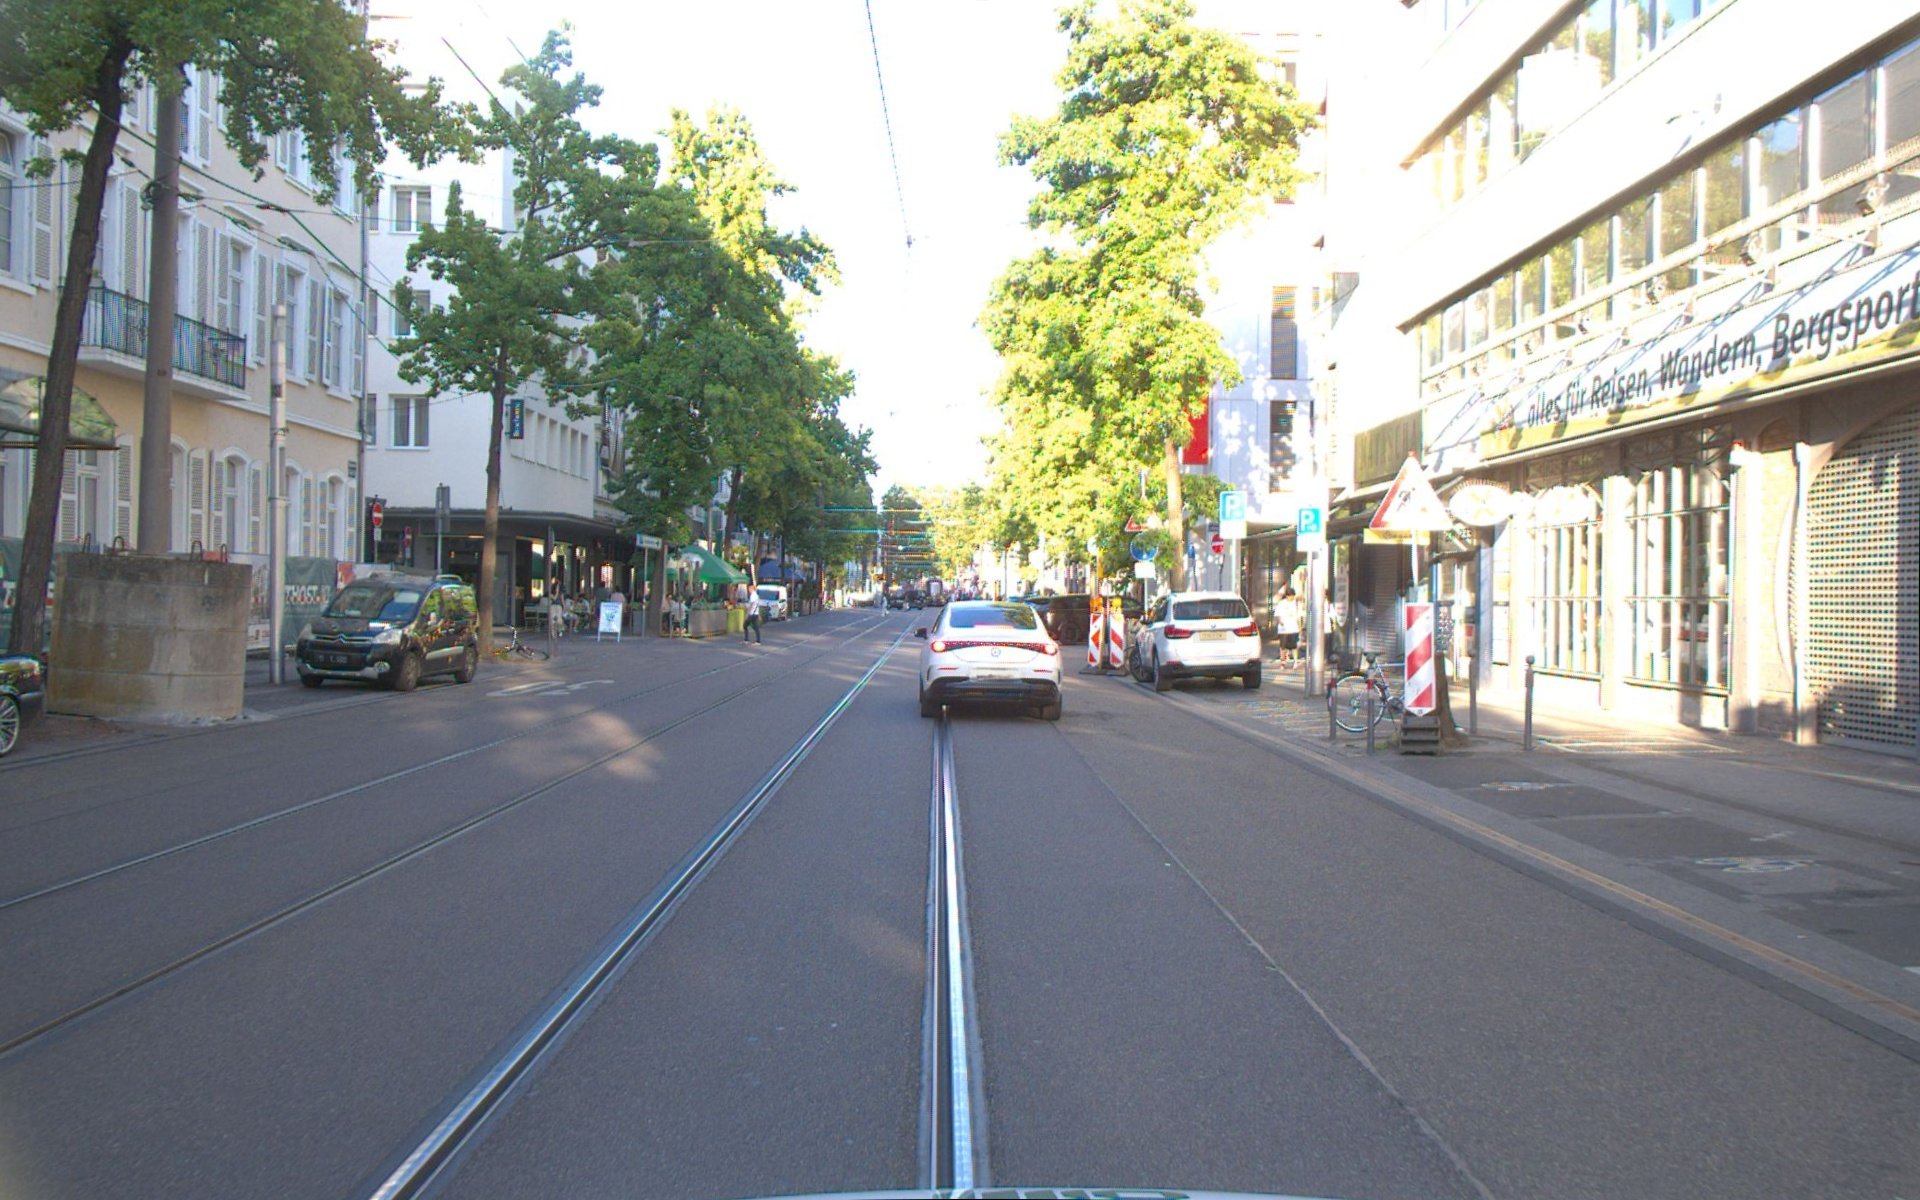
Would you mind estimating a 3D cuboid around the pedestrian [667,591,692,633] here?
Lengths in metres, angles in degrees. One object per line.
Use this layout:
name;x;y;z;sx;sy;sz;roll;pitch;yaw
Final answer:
pedestrian;-9.638;0.420;56.788;0.675;1.410;0.807;2;0;0

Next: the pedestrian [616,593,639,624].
pedestrian;-13.858;0.358;68.883;0.721;1.253;0.788;4;0;-1

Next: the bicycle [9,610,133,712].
bicycle;-11.107;0.740;20.733;0.745;1.141;2.041;4;0;-12

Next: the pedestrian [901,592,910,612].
pedestrian;-4.905;0.170;150.026;0.771;1.832;0.844;1;0;0

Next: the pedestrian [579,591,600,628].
pedestrian;-13.736;0.342;61.311;0.590;1.321;0.687;2;0;0

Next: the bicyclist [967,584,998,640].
bicyclist;0.683;0.362;50.638;0.761;1.641;0.913;3;0;8

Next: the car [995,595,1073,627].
car;4.274;0.632;95.347;4.301;1.681;1.676;-2;0;-32

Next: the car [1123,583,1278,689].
car;4.432;0.617;31.199;1.982;1.768;4.905;-2;0;-2

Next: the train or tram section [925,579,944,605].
train or tram section;-3.695;-1.183;238.868;2.639;3.578;11.141;0;0;-1

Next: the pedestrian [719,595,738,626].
pedestrian;-9.665;0.445;69.116;0.606;1.266;0.697;4;0;-1

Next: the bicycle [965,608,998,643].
bicycle;0.676;0.771;50.709;0.703;1.012;2.060;3;0;8

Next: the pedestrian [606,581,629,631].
pedestrian;-11.849;0.210;57.219;0.606;1.699;0.697;2;0;-1

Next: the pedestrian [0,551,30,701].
pedestrian;-12.011;0.302;20.087;0.758;1.823;0.984;3;0;1

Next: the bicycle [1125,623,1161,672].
bicycle;3.928;1.009;35.585;0.483;0.999;1.929;0;0;-3

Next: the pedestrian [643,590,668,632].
pedestrian;-10.449;0.380;56.786;0.675;1.410;0.807;2;0;0

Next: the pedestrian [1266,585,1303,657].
pedestrian;8.733;0.560;44.547;0.816;1.930;0.918;-1;0;2

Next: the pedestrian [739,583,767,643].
pedestrian;-6.178;0.379;49.294;0.781;1.771;0.864;1;1;-8

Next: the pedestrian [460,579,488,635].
pedestrian;-14.859;0.217;50.559;0.783;1.642;0.862;1;2;-18

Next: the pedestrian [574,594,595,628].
pedestrian;-13.424;0.380;59.091;0.541;1.182;0.687;2;0;0

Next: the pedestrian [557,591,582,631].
pedestrian;-13.288;0.369;56.256;0.614;1.304;0.727;2;0;0

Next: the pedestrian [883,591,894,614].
pedestrian;-4.918;0.178;113.880;0.609;1.577;0.852;3;0;0

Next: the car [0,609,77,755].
car;-9.435;0.718;13.842;1.683;1.266;4.507;3;0;-1

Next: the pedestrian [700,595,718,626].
pedestrian;-10.483;0.447;69.093;0.606;1.266;0.697;4;0;-1

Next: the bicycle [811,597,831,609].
bicycle;-11.156;0.244;132.938;1.562;0.947;0.377;2;0;6

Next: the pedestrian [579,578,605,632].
pedestrian;-12.657;0.169;56.881;0.664;1.787;0.697;2;0;1

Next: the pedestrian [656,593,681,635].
pedestrian;-10.140;0.484;57.607;0.675;1.410;0.807;2;0;0

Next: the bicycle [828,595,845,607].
bicycle;-11.619;0.096;155.484;1.466;1.047;0.344;2;0;-11

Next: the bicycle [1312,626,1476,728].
bicycle;5.160;0.906;19.755;1.774;1.154;0.841;-1;-1;7

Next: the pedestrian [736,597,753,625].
pedestrian;-9.961;0.501;76.431;0.643;1.214;0.798;4;0;-1

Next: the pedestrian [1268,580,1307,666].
pedestrian;7.116;0.496;35.985;0.691;1.862;0.634;1;0;-1

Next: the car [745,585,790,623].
car;-10.386;0.180;89.410;1.759;1.897;4.553;3;0;0

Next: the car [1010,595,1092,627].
car;5.036;0.606;91.200;4.195;1.615;1.864;-2;0;-32

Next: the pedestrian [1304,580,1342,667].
pedestrian;7.876;0.513;35.918;0.674;1.862;0.634;1;0;-1

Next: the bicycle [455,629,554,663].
bicycle;-9.903;0.996;36.013;1.758;0.619;1.282;2;0;2

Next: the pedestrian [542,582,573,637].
pedestrian;-12.421;0.280;51.095;0.692;1.685;0.967;0;1;1

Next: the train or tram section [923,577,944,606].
train or tram section;-3.428;-1.088;214.479;2.639;3.578;12.543;0;0;-1

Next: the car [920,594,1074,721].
car;0.418;0.692;22.091;1.819;1.481;4.174;2;0;-1

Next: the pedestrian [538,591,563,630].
pedestrian;-13.936;0.342;56.322;0.631;1.291;0.738;2;0;0

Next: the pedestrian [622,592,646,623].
pedestrian;-13.772;0.301;69.963;0.761;1.258;0.945;4;0;-1

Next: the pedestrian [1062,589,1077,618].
pedestrian;6.827;0.203;102.990;0.677;1.761;0.629;-2;0;41

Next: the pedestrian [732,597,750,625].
pedestrian;-10.010;0.503;75.571;0.643;1.266;0.872;4;0;-1

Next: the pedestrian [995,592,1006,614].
pedestrian;3.435;0.241;139.488;0.824;1.832;0.790;2;0;0

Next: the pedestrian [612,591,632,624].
pedestrian;-13.827;0.298;67.697;0.606;1.332;0.697;4;0;-1

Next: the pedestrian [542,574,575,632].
pedestrian;-13.124;0.092;54.083;0.670;1.847;0.764;2;0;14

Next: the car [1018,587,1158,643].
car;4.530;0.512;58.368;4.603;1.794;1.974;-2;0;-30

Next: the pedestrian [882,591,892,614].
pedestrian;-4.995;0.178;112.871;0.609;1.535;0.833;3;0;0

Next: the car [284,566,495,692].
car;-9.334;0.431;27.483;1.819;1.864;4.559;2;0;1

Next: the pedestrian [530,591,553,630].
pedestrian;-13.732;0.333;54.270;0.541;1.257;0.687;2;0;0

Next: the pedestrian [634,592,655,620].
pedestrian;-13.977;0.282;73.273;0.686;1.188;0.788;4;0;-1

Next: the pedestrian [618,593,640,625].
pedestrian;-13.281;0.362;66.352;0.656;1.264;0.798;2;0;-1

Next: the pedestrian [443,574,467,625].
pedestrian;-16.372;-0.017;53.610;0.396;1.632;0.619;1;0;33

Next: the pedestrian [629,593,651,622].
pedestrian;-13.979;0.319;72.246;0.721;1.235;0.788;4;0;-1

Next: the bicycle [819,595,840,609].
bicycle;-10.739;0.168;136.181;1.754;1.096;0.377;2;0;-5
